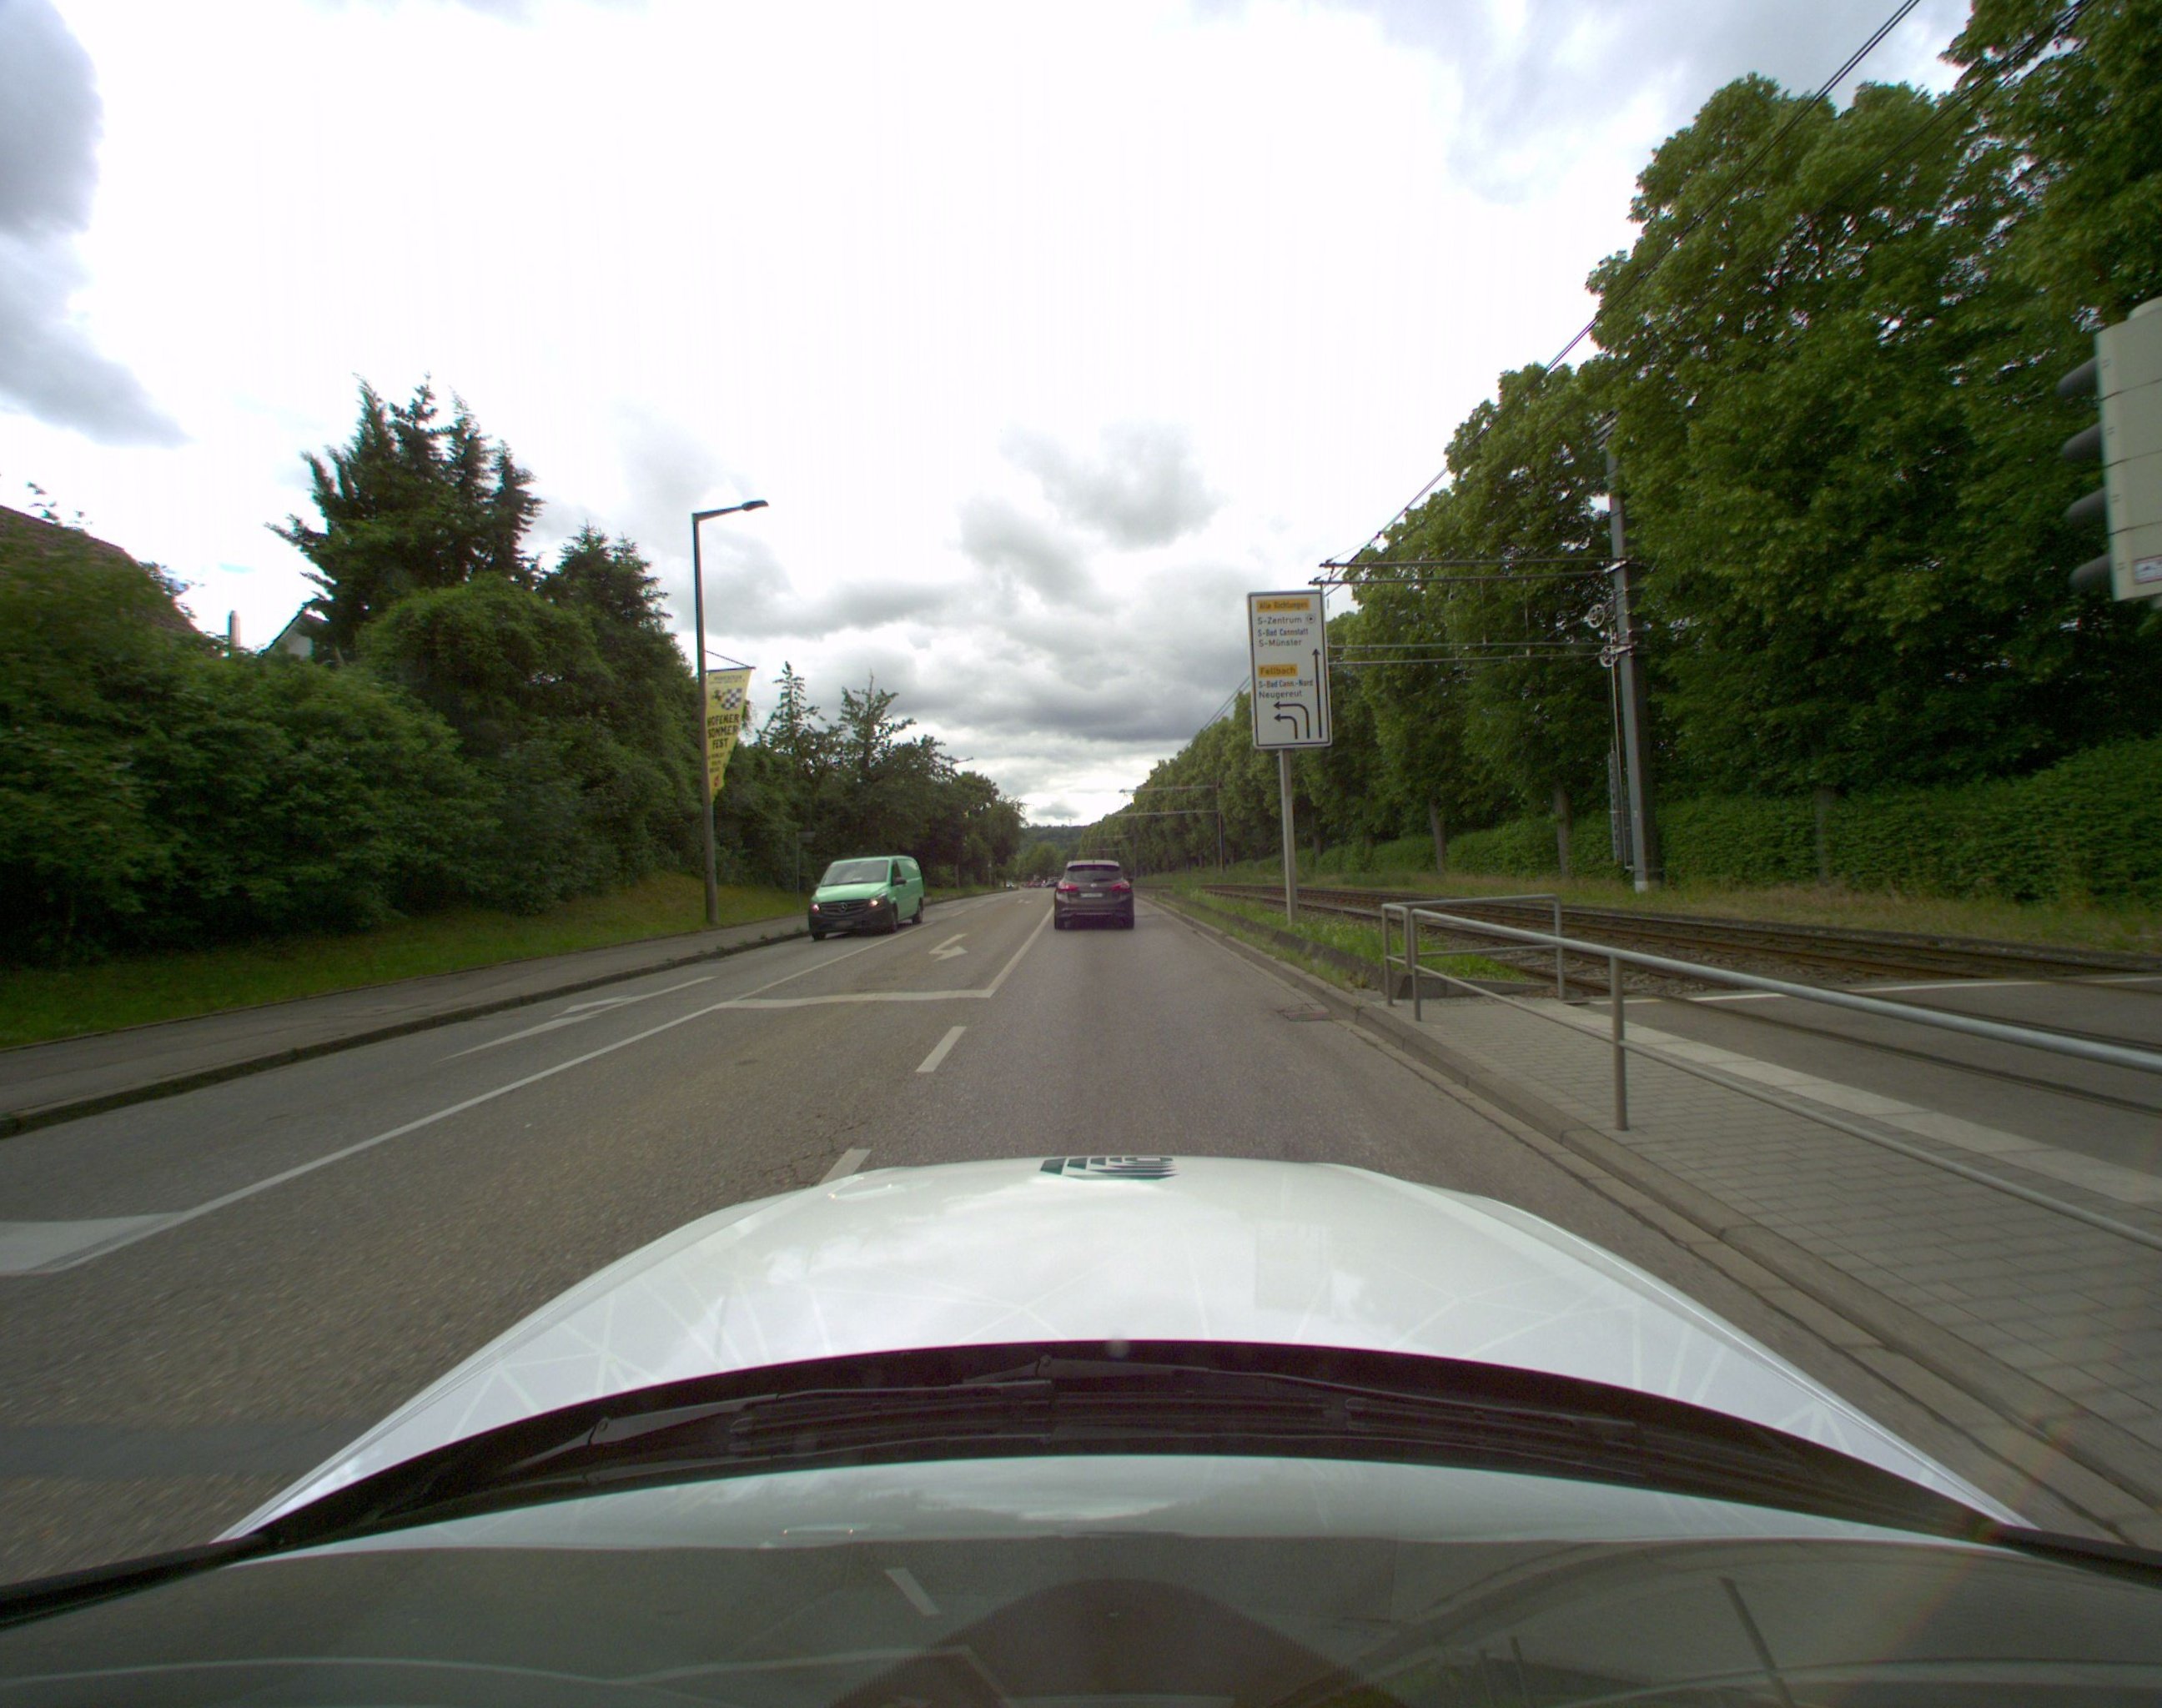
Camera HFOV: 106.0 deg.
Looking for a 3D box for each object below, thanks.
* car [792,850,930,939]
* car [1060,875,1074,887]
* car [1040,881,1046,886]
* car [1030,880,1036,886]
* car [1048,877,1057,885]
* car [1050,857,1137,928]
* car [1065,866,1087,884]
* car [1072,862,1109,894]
[{"bbox_3d":[-5.294,0.926,20.324,2.052,1.810,4.728,-4,-1,0],"label":"car"},{"bbox_3d":[-1.852,3.552,106.390,1.695,1.444,3.995,-1,-3,-2],"label":"car"},{"bbox_3d":[-11.775,9.099,253.165,1.695,1.476,3.702,-1,-3,-2],"label":"car"},{"bbox_3d":[-15.206,9.223,257.097,1.695,1.714,3.995,-1,-3,-2],"label":"car"},{"bbox_3d":[-6.139,5.842,175.229,1.790,1.510,3.995,-1,-3,-2],"label":"car"},{"bbox_3d":[0.317,0.816,19.205,1.844,1.493,4.001,0,0,1],"label":"car"},{"bbox_3d":[-0.445,1.856,70.528,1.696,1.444,3.995,-1,-3,-3],"label":"car"},{"bbox_3d":[0.416,1.215,40.081,1.695,1.444,3.997,-1,-3,-1],"label":"car"}]
